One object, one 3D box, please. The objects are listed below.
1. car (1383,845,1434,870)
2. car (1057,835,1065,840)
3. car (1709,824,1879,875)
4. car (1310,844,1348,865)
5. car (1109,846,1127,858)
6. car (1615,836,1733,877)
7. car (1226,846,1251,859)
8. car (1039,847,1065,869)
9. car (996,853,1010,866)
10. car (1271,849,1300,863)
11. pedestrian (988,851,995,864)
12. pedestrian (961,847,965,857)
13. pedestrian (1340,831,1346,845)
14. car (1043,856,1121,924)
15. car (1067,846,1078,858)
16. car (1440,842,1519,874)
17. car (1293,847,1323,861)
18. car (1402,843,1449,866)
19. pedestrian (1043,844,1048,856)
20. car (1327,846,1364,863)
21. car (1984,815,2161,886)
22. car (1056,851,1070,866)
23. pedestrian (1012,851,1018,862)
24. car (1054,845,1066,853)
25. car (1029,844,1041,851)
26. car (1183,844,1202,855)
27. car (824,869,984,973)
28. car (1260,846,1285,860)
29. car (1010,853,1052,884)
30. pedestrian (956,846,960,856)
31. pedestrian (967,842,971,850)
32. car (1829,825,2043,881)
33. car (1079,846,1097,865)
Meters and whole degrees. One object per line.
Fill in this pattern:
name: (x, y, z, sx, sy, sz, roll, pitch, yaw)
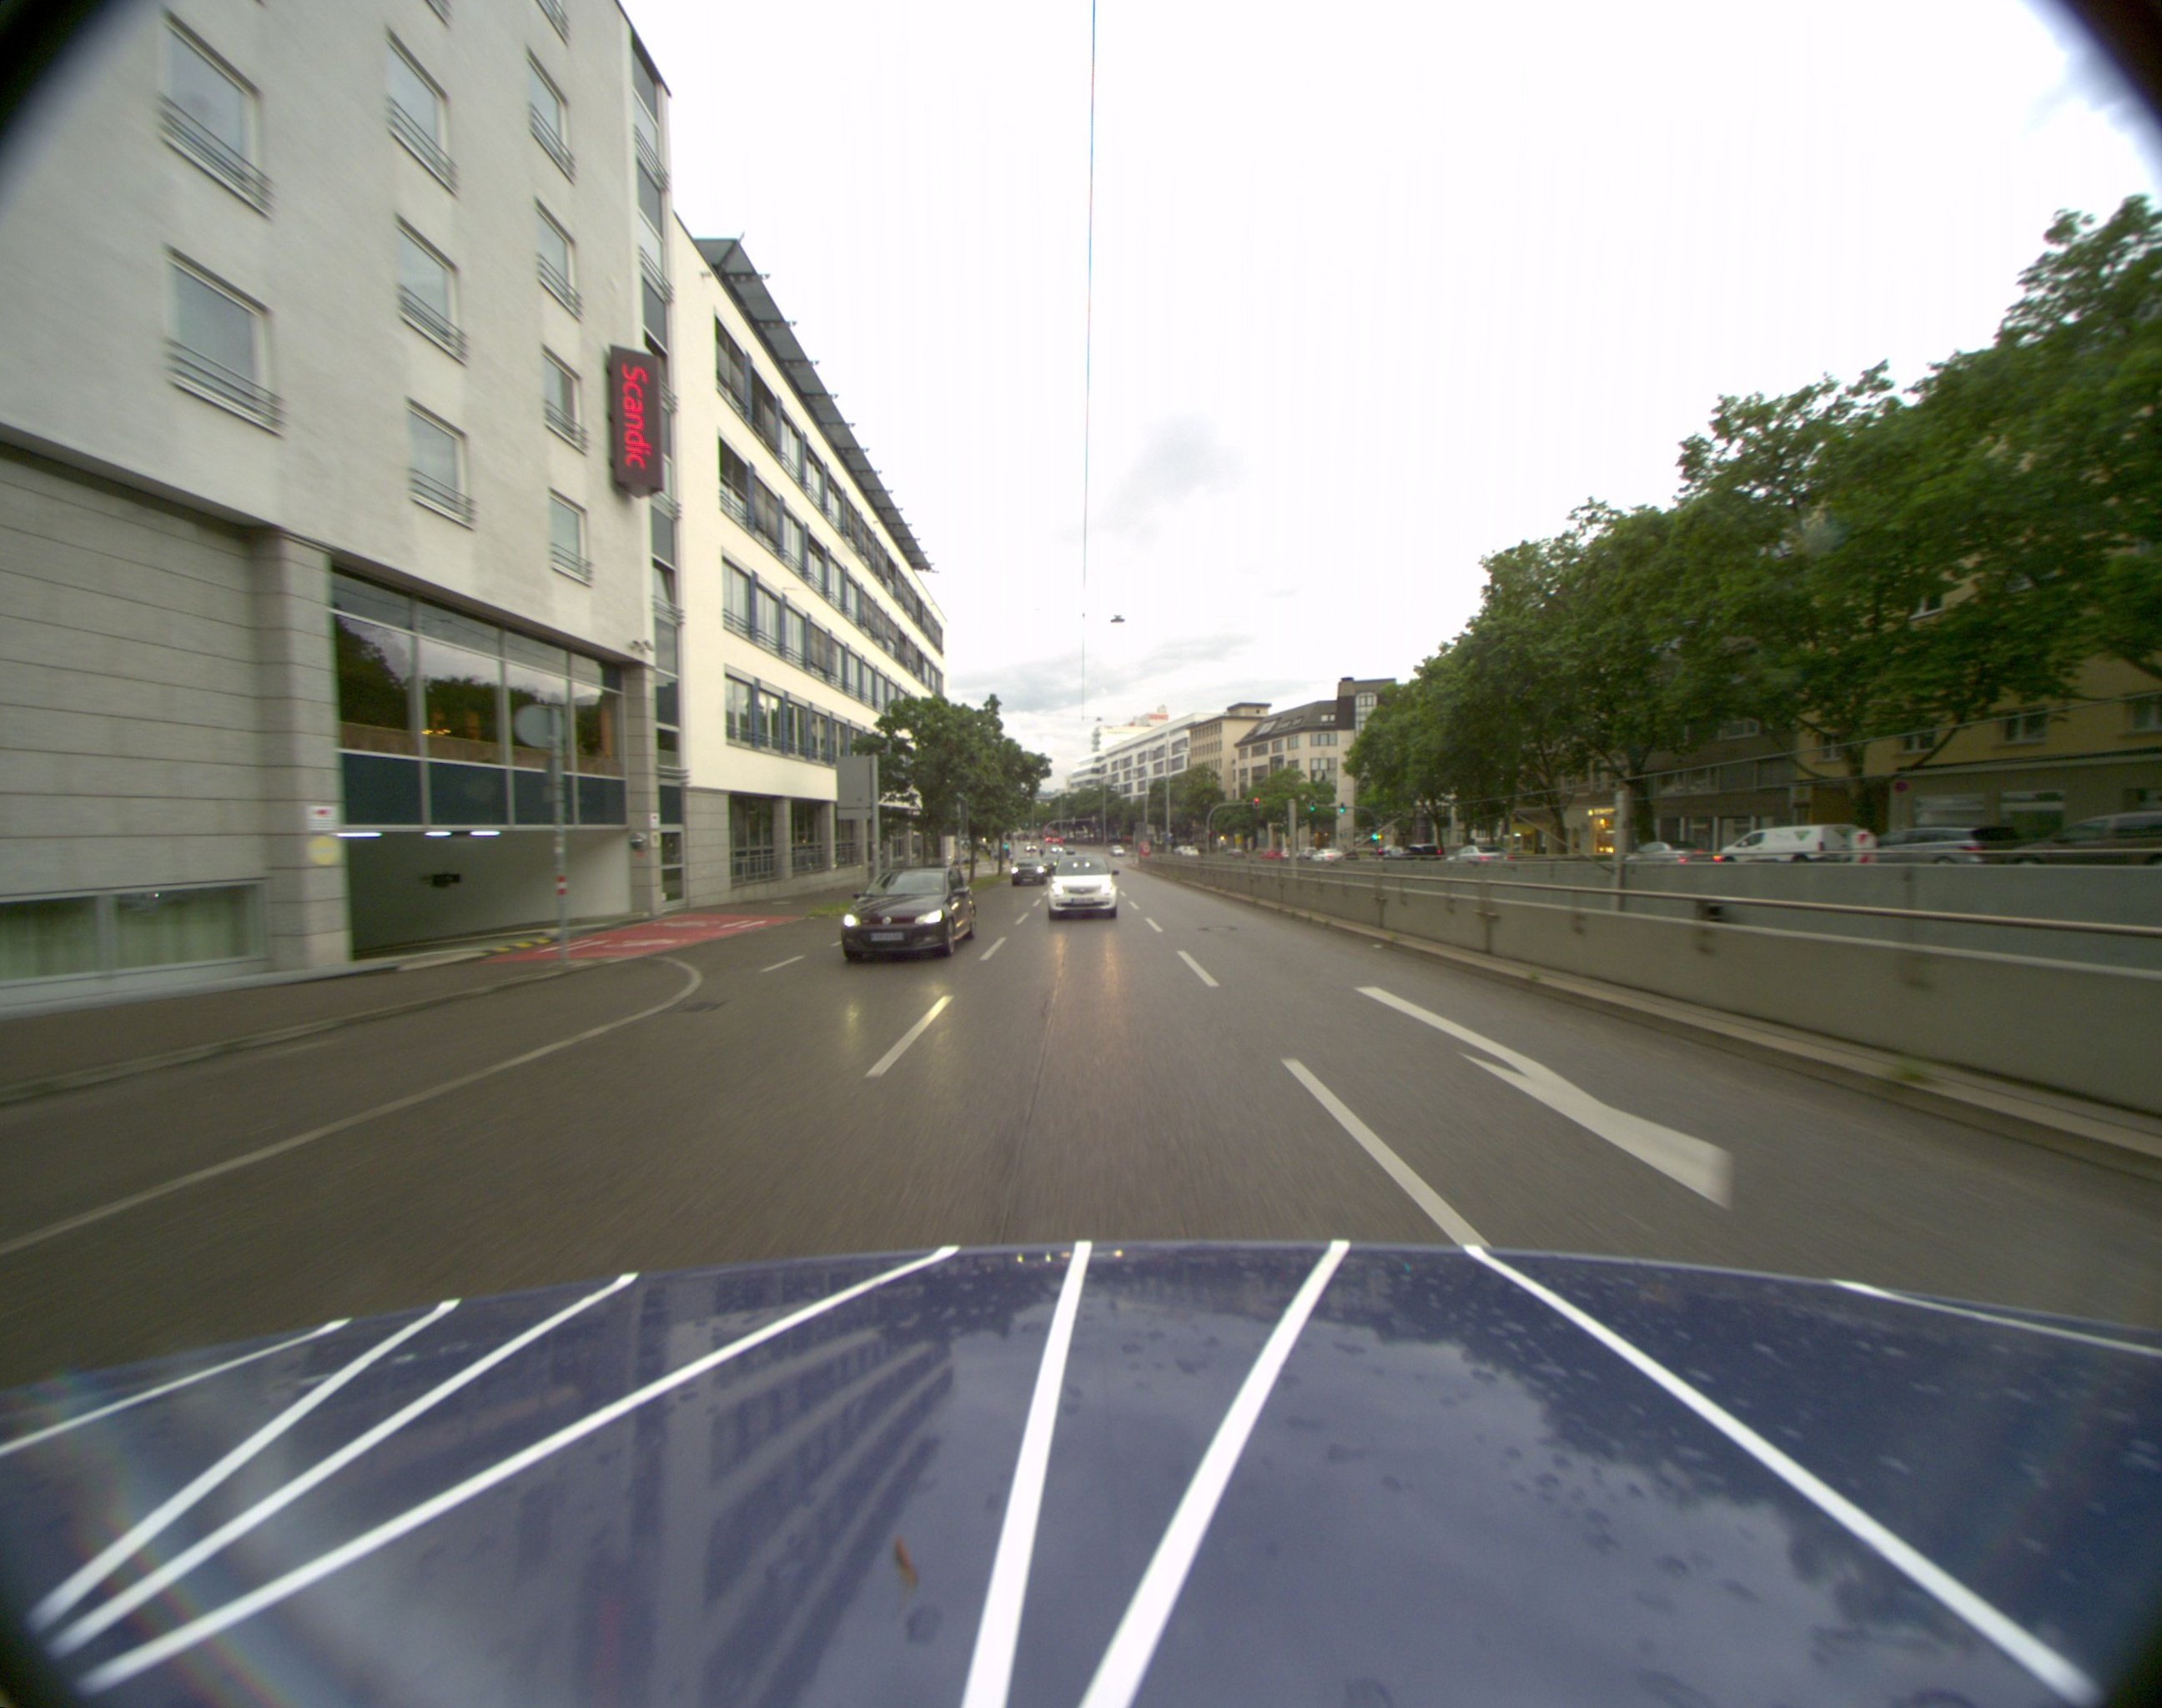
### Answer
car: (22.248, 0.203, 51.833, 1.798, 1.502, 4.344, -1, 1, 3)
car: (-6.277, -5.268, 242.280, 1.800, 1.502, 3.995, -3, 1, -12)
car: (27.489, -0.147, 29.593, 1.882, 1.754, 4.900, -2, 0, -2)
car: (22.155, 0.049, 68.036, 1.799, 1.760, 4.730, -1, 1, -1)
car: (5.934, -0.349, 121.858, 1.800, 1.733, 3.995, -3, 1, -12)
car: (24.100, 0.076, 31.089, 1.850, 1.501, 4.018, -2, 0, 4)
car: (19.646, -0.218, 94.922, 1.799, 1.549, 4.833, -1, 1, -4)
car: (-2.399, 0.299, 62.947, 1.798, 1.657, 4.000, -2, 1, 2)
car: (-12.502, 0.832, 122.568, 1.799, 1.851, 4.290, -2, 1, 0)
car: (23.735, 0.216, 88.202, 1.800, 1.502, 3.996, -2, 1, -8)
pedestrian: (-11.690, 0.497, 99.521, 0.707, 1.615, 0.644, -2, 2, 2)
pedestrian: (-18.499, -0.308, 118.899, 0.588, 1.600, 0.603, -3, 2, -13)
pedestrian: (33.916, -2.072, 98.383, 0.590, 1.799, 0.674, -2, 2, 7)
car: (0.045, 0.848, 19.845, 1.798, 1.528, 4.000, -1, 1, 1)
car: (-1.615, -0.372, 139.154, 1.799, 1.934, 3.998, -3, 1, -2)
car: (21.151, 0.205, 40.555, 1.851, 1.501, 4.822, -2, 0, 3)
car: (26.877, -0.012, 90.068, 1.800, 1.502, 3.938, -3, 1, -10)
car: (25.805, 0.022, 57.029, 1.798, 1.570, 4.017, -2, 0, 2)
pedestrian: (-5.384, -0.561, 114.315, 0.604, 1.792, 0.587, -3, 2, -7)
car: (25.162, 0.041, 72.397, 1.800, 1.502, 3.997, -3, 1, -7)
car: (26.783, -0.113, 19.668, 1.799, 1.719, 4.205, -2, 0, 0)
car: (-2.560, 0.600, 107.352, 1.799, 1.934, 3.998, -3, 1, -4)
pedestrian: (-8.637, 0.292, 99.931, 0.588, 1.469, 0.603, -3, 2, -21)
car: (-4.267, -1.024, 152.966, 1.800, 1.502, 3.995, -3, 1, -12)
car: (-9.953, -1.381, 164.527, 1.800, 1.502, 3.995, -3, 1, -12)
car: (16.501, -0.616, 112.189, 1.800, 1.552, 3.997, -2, 1, -6)
car: (-2.835, 1.025, 13.022, 1.677, 1.391, 3.849, -2, 0, 2)
car: (20.933, -0.099, 83.210, 1.589, 1.393, 3.879, -1, 1, -3)
car: (-2.588, 0.748, 40.206, 1.751, 1.433, 3.706, -2, 1, 2)
pedestrian: (-19.242, -0.448, 118.711, 0.588, 1.600, 0.603, -3, 2, -13)
pedestrian: (-21.063, -1.493, 142.850, 0.588, 1.469, 0.603, -3, 2, -21)
car: (27.210, -0.039, 24.462, 1.881, 1.574, 4.473, -2, 0, 1)
car: (0.739, 0.129, 84.156, 1.799, 2.021, 3.999, -3, 1, 0)
